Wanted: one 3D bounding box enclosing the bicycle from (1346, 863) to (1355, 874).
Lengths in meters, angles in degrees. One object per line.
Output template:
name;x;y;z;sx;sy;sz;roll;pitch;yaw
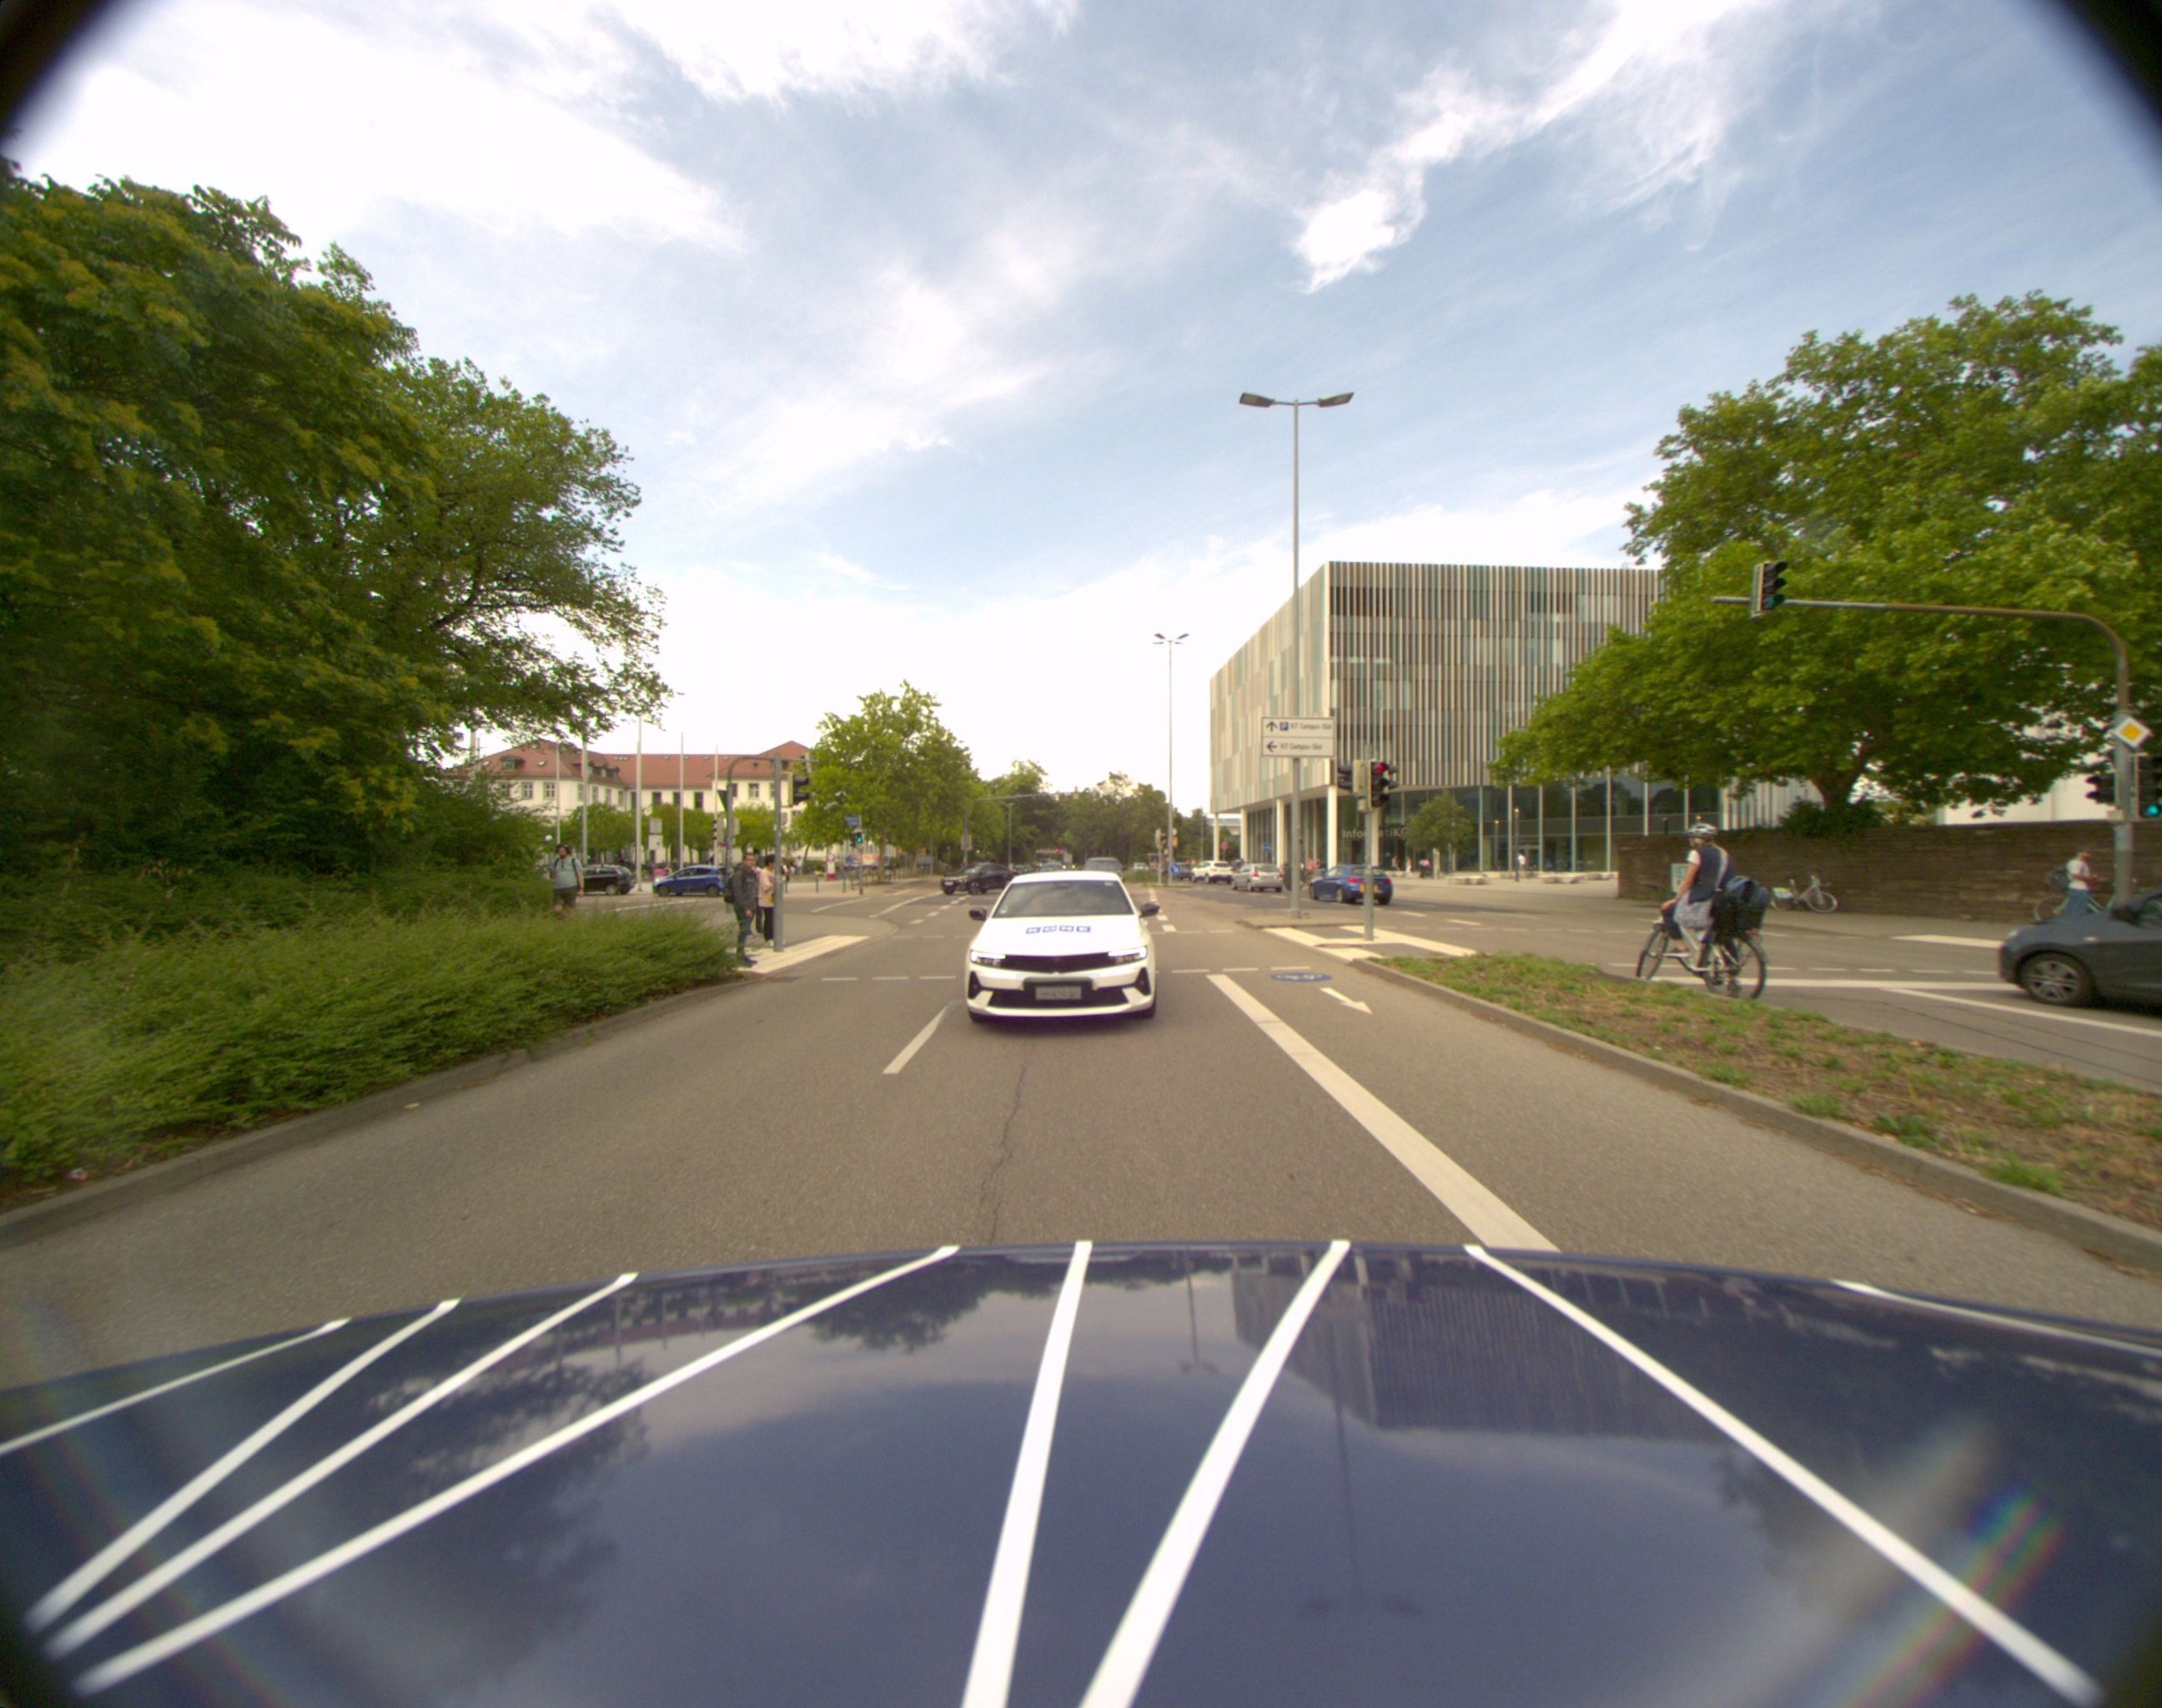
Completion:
bicycle;23.708;1.244;66.857;0.393;0.932;1.601;-2;0;31

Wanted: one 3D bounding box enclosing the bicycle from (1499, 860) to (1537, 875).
bicycle;32.045;1.003;55.689;2.685;1.083;0.796;0;0;-18

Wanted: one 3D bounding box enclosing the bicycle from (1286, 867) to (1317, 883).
bicycle;14.356;1.377;49.572;1.823;0.983;0.727;-2;1;-17

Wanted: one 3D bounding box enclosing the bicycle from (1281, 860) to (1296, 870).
bicycle;21.975;1.158;80.418;1.546;0.932;0.389;-2;1;-8

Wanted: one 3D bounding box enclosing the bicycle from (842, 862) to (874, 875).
bicycle;-19.337;1.248;65.915;2.472;1.136;0.717;0;0;-2

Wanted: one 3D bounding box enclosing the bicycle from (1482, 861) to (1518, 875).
bicycle;31.479;1.057;57.059;2.685;0.993;0.672;0;0;-18

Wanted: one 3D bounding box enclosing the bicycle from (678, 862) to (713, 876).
bicycle;-31.357;1.215;61.857;2.472;1.136;0.717;0;0;-2

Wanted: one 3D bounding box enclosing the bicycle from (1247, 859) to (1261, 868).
bicycle;21.098;1.121;92.564;1.582;1.017;0.389;-2;1;-8

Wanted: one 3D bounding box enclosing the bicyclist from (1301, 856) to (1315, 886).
bicyclist;14.294;1.064;47.770;0.602;1.796;0.561;-2;1;-17

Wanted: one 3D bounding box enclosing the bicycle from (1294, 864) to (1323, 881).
bicycle;14.304;1.149;47.773;1.693;0.983;0.571;-2;1;-17

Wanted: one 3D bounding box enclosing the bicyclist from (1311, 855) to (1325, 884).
bicyclist;14.448;0.934;46.261;0.602;1.796;0.561;0;0;-17

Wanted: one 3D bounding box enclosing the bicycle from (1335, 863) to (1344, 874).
bicycle;22.947;1.283;67.461;0.393;0.932;1.601;-2;0;31

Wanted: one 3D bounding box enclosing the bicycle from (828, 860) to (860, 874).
bicycle;-20.005;1.094;64.100;2.472;1.136;0.717;0;0;-2

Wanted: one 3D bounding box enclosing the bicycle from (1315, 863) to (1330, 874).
bicycle;22.090;1.290;69.391;1.613;0.932;0.393;-2;1;-36

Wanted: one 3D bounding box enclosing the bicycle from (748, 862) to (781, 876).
bicycle;-26.209;1.225;62.929;2.472;1.136;0.717;0;0;-2

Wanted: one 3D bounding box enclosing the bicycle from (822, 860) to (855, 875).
bicycle;-19.837;1.103;62.221;2.472;1.136;0.717;0;0;-2

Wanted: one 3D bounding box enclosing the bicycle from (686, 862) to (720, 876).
bicycle;-31.412;1.209;63.178;2.472;1.136;0.717;0;0;-2

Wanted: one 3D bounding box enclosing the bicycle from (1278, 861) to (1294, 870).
bicycle;21.536;1.180;79.742;1.546;0.932;0.394;-2;1;-8

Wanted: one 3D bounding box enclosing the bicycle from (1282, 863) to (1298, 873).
bicycle;21.751;1.484;79.127;1.546;0.989;0.399;-2;1;-7

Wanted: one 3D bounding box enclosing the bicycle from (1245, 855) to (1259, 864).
bicycle;21.002;0.638;93.278;1.582;1.017;0.389;2;1;-8

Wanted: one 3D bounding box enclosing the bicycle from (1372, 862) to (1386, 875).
bicycle;25.427;1.211;64.741;1.549;1.023;0.393;-2;1;-40

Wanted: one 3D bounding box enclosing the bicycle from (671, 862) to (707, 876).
bicycle;-31.318;1.182;60.660;2.472;1.136;0.717;0;0;-2

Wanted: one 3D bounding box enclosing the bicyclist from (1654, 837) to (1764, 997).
bicyclist;6.386;0.616;7.762;0.573;1.564;0.699;0;0;4

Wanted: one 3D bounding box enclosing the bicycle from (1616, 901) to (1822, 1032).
bicycle;6.328;1.056;7.693;0.574;1.049;1.927;0;0;4

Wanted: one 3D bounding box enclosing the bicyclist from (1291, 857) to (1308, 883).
bicyclist;14.226;1.058;49.531;0.729;1.663;0.723;-2;1;-17

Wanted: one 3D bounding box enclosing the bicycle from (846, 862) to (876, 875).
bicycle;-19.329;1.241;66.787;2.472;1.136;0.717;0;0;-2

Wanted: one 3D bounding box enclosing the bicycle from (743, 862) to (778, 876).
bicycle;-26.187;1.193;62.097;2.472;1.136;0.717;0;0;-2

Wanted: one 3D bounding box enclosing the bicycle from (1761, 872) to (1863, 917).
bicycle;20.166;1.087;21.031;0.579;1.119;2.164;-3;0;-4

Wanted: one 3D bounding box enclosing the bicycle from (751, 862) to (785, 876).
bicycle;-26.236;1.221;63.725;2.472;1.136;0.717;0;0;-2

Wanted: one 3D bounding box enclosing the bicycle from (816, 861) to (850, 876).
bicycle;-19.813;1.148;60.700;2.472;1.136;0.717;0;0;-2

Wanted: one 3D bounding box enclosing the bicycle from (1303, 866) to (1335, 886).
bicycle;14.506;1.343;46.333;1.897;1.163;0.606;0;0;-18

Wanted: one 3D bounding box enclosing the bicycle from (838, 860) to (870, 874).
bicycle;-19.445;1.125;65.061;2.472;1.136;0.717;0;0;-2

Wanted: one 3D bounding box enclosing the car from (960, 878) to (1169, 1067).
car;-0.270;1.065;8.760;1.745;1.430;4.781;0;0;-3
